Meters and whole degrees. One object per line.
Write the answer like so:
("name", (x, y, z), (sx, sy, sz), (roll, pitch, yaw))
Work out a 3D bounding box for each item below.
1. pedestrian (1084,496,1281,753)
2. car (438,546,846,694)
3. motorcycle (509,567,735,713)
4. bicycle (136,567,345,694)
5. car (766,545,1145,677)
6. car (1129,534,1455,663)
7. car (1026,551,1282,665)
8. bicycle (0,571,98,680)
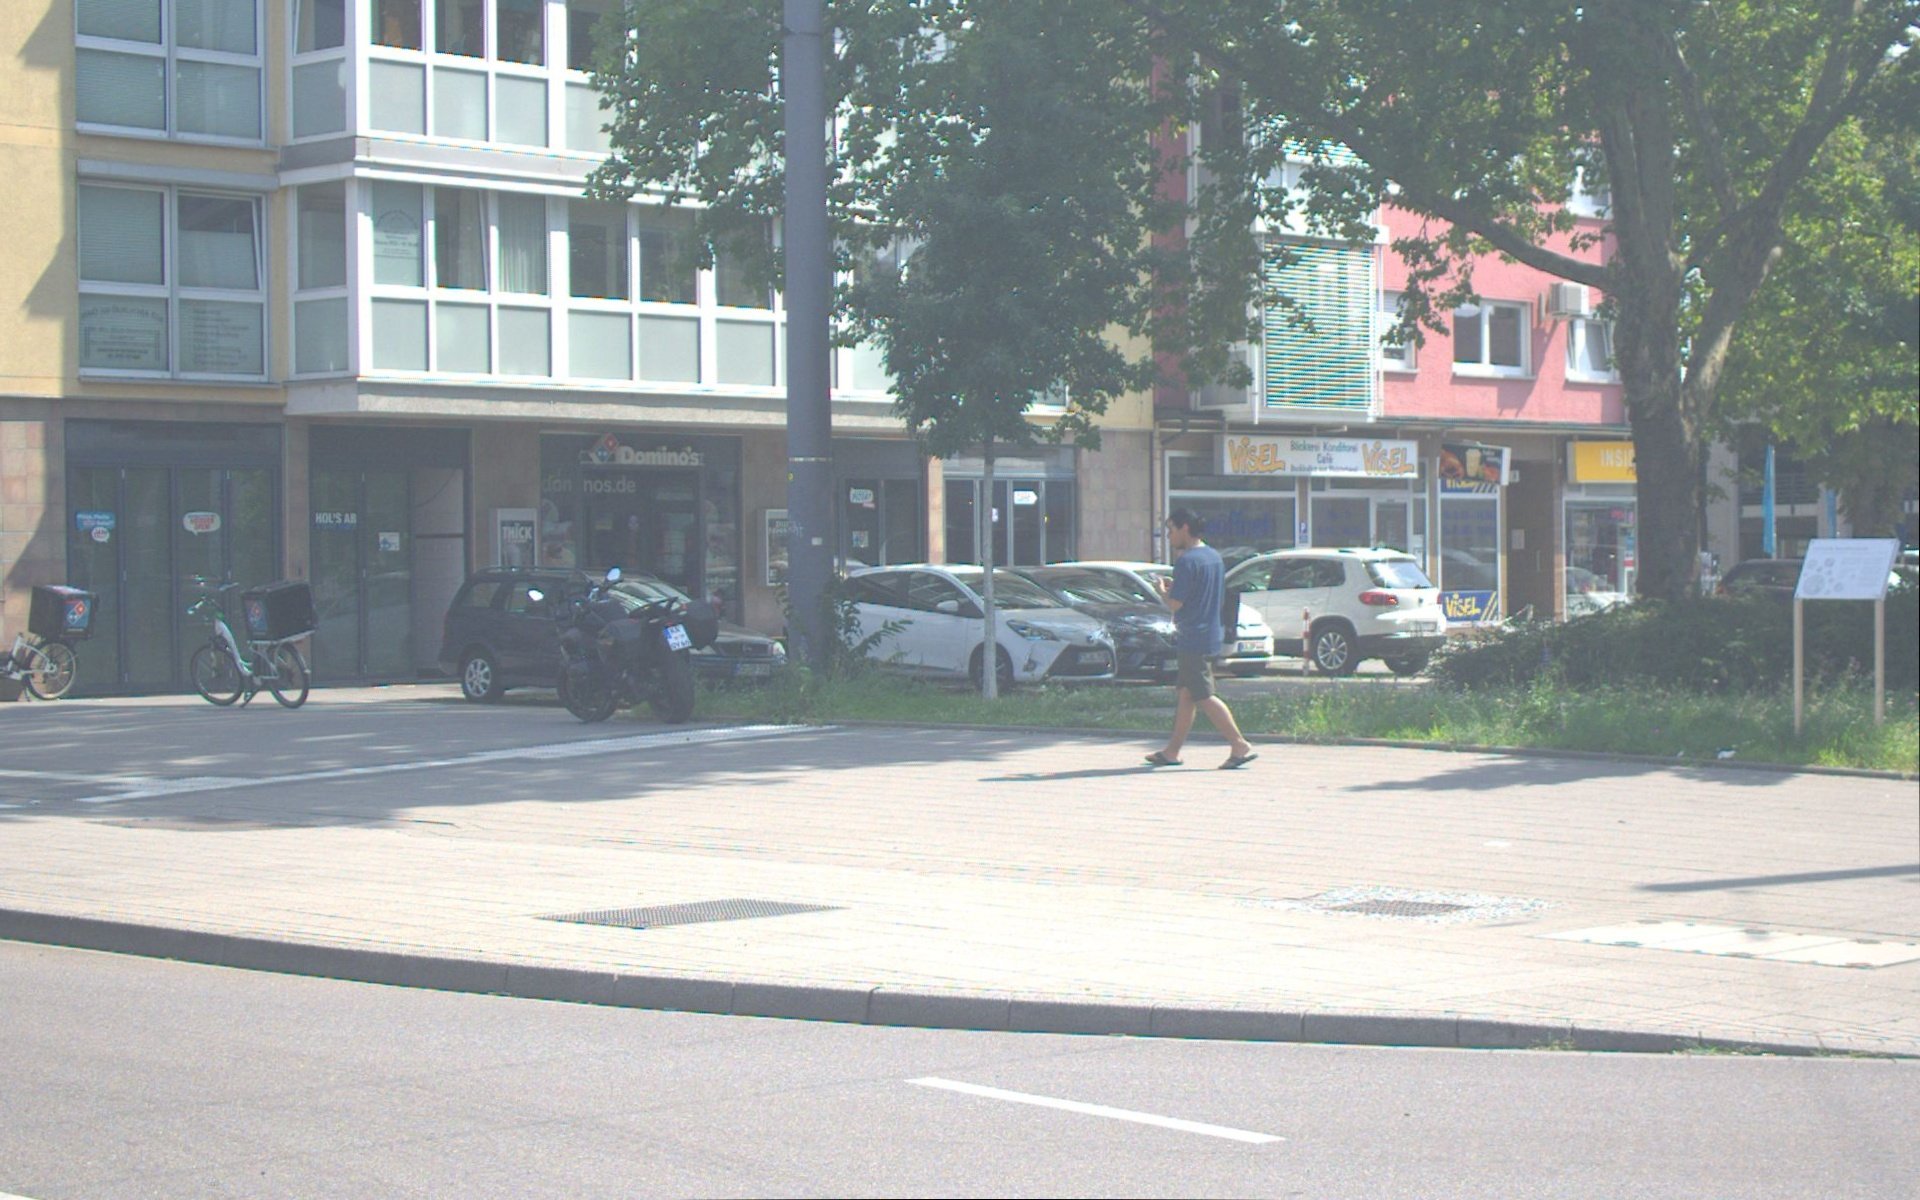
("pedestrian", (1.427, 0.147, 22.058), (0.949, 1.603, 0.791), (-1, 1, 40))
("car", (-3.424, 0.178, 36.609), (4.243, 1.465, 1.902), (0, 1, 40))
("motorcycle", (-2.763, 0.302, 27.882), (0.909, 1.133, 2.112), (-1, 1, -34))
("bicycle", (-7.276, 0.287, 34.670), (2.433, 1.234, 0.792), (0, 1, 43))
("car", (-0.087, 0.096, 40.529), (4.243, 1.465, 1.902), (0, 1, 40))
("car", (4.442, -0.045, 46.298), (4.070, 1.660, 1.786), (0, 1, 40))
("car", (2.496, 0.088, 44.628), (3.095, 1.424, 1.400), (0, 1, 40))
("bicycle", (-10.238, 0.269, 36.574), (1.963, 1.139, 0.596), (-1, 1, -32))
